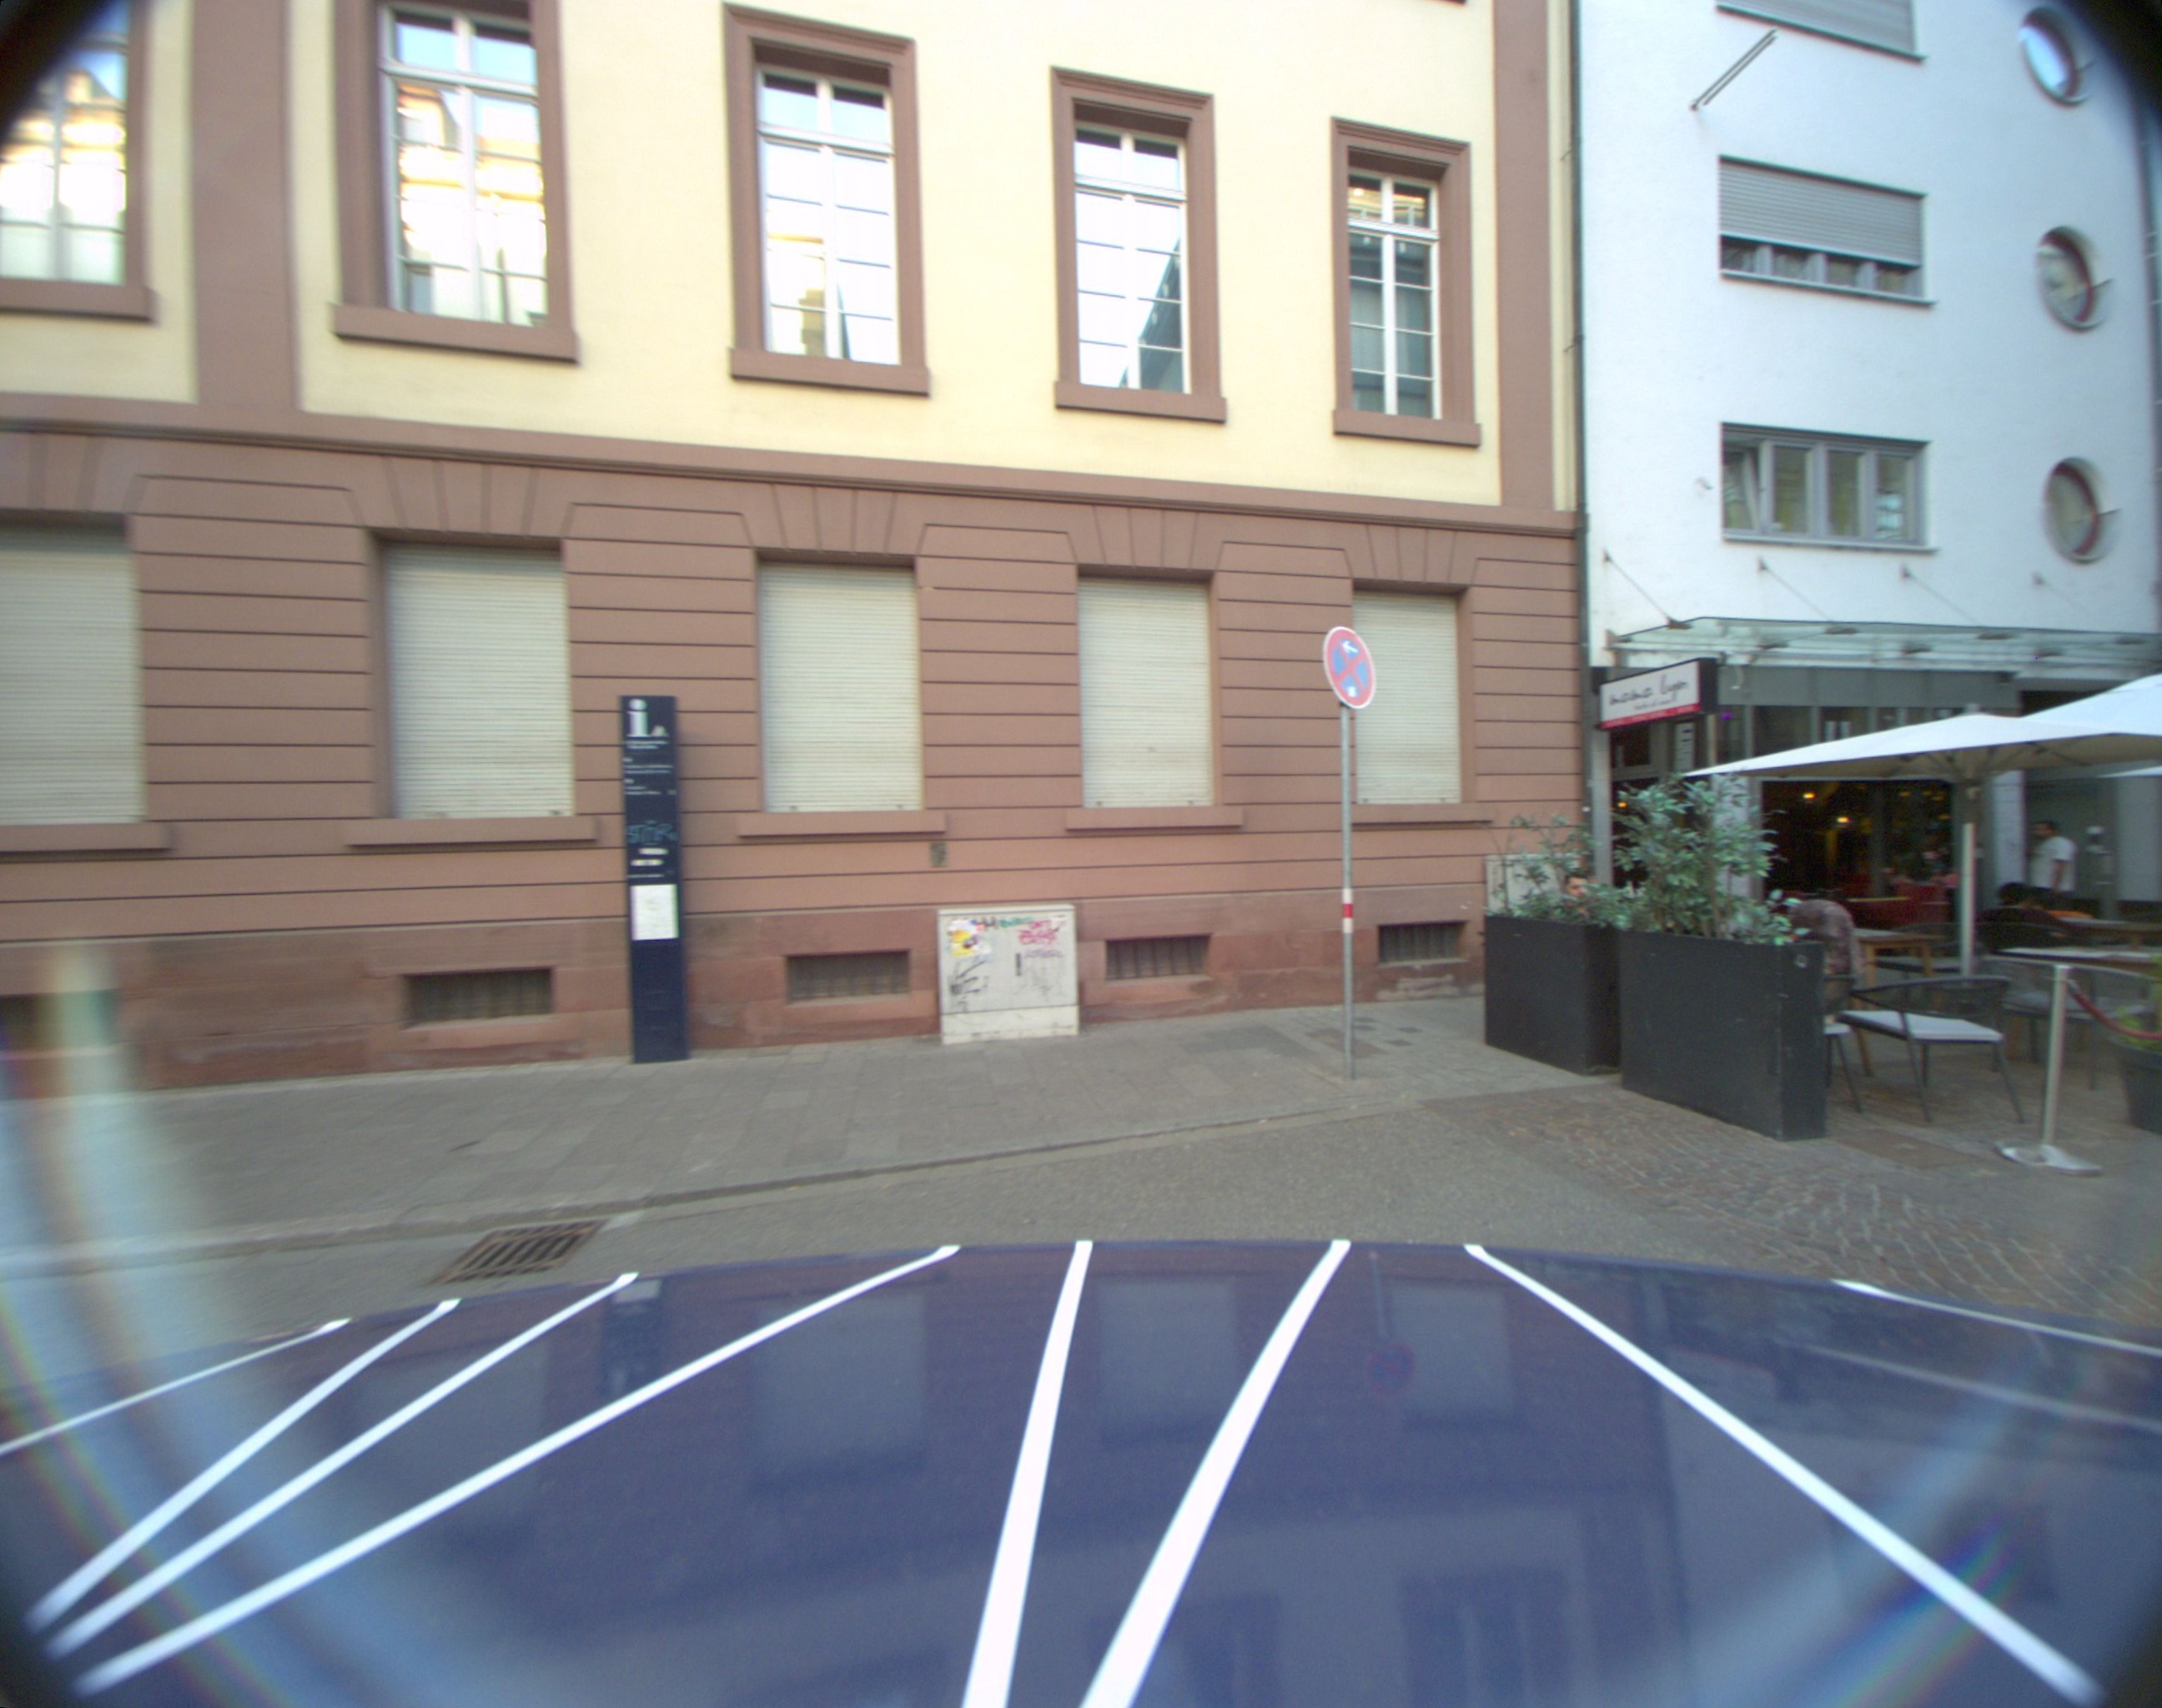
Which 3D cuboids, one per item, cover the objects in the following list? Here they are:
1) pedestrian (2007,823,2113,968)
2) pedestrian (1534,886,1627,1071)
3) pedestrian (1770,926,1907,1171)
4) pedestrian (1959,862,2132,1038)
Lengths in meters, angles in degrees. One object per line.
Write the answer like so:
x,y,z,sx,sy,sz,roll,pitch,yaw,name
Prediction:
12.386,0.503,9.622,0.602,1.762,0.639,-2,1,-16,pedestrian
3.759,0.909,5.724,0.496,1.298,0.362,-2,1,-25,pedestrian
4.134,1.024,4.156,0.383,1.206,0.400,-2,1,-21,pedestrian
8.299,0.789,6.556,0.868,1.411,0.575,-2,1,-10,pedestrian
